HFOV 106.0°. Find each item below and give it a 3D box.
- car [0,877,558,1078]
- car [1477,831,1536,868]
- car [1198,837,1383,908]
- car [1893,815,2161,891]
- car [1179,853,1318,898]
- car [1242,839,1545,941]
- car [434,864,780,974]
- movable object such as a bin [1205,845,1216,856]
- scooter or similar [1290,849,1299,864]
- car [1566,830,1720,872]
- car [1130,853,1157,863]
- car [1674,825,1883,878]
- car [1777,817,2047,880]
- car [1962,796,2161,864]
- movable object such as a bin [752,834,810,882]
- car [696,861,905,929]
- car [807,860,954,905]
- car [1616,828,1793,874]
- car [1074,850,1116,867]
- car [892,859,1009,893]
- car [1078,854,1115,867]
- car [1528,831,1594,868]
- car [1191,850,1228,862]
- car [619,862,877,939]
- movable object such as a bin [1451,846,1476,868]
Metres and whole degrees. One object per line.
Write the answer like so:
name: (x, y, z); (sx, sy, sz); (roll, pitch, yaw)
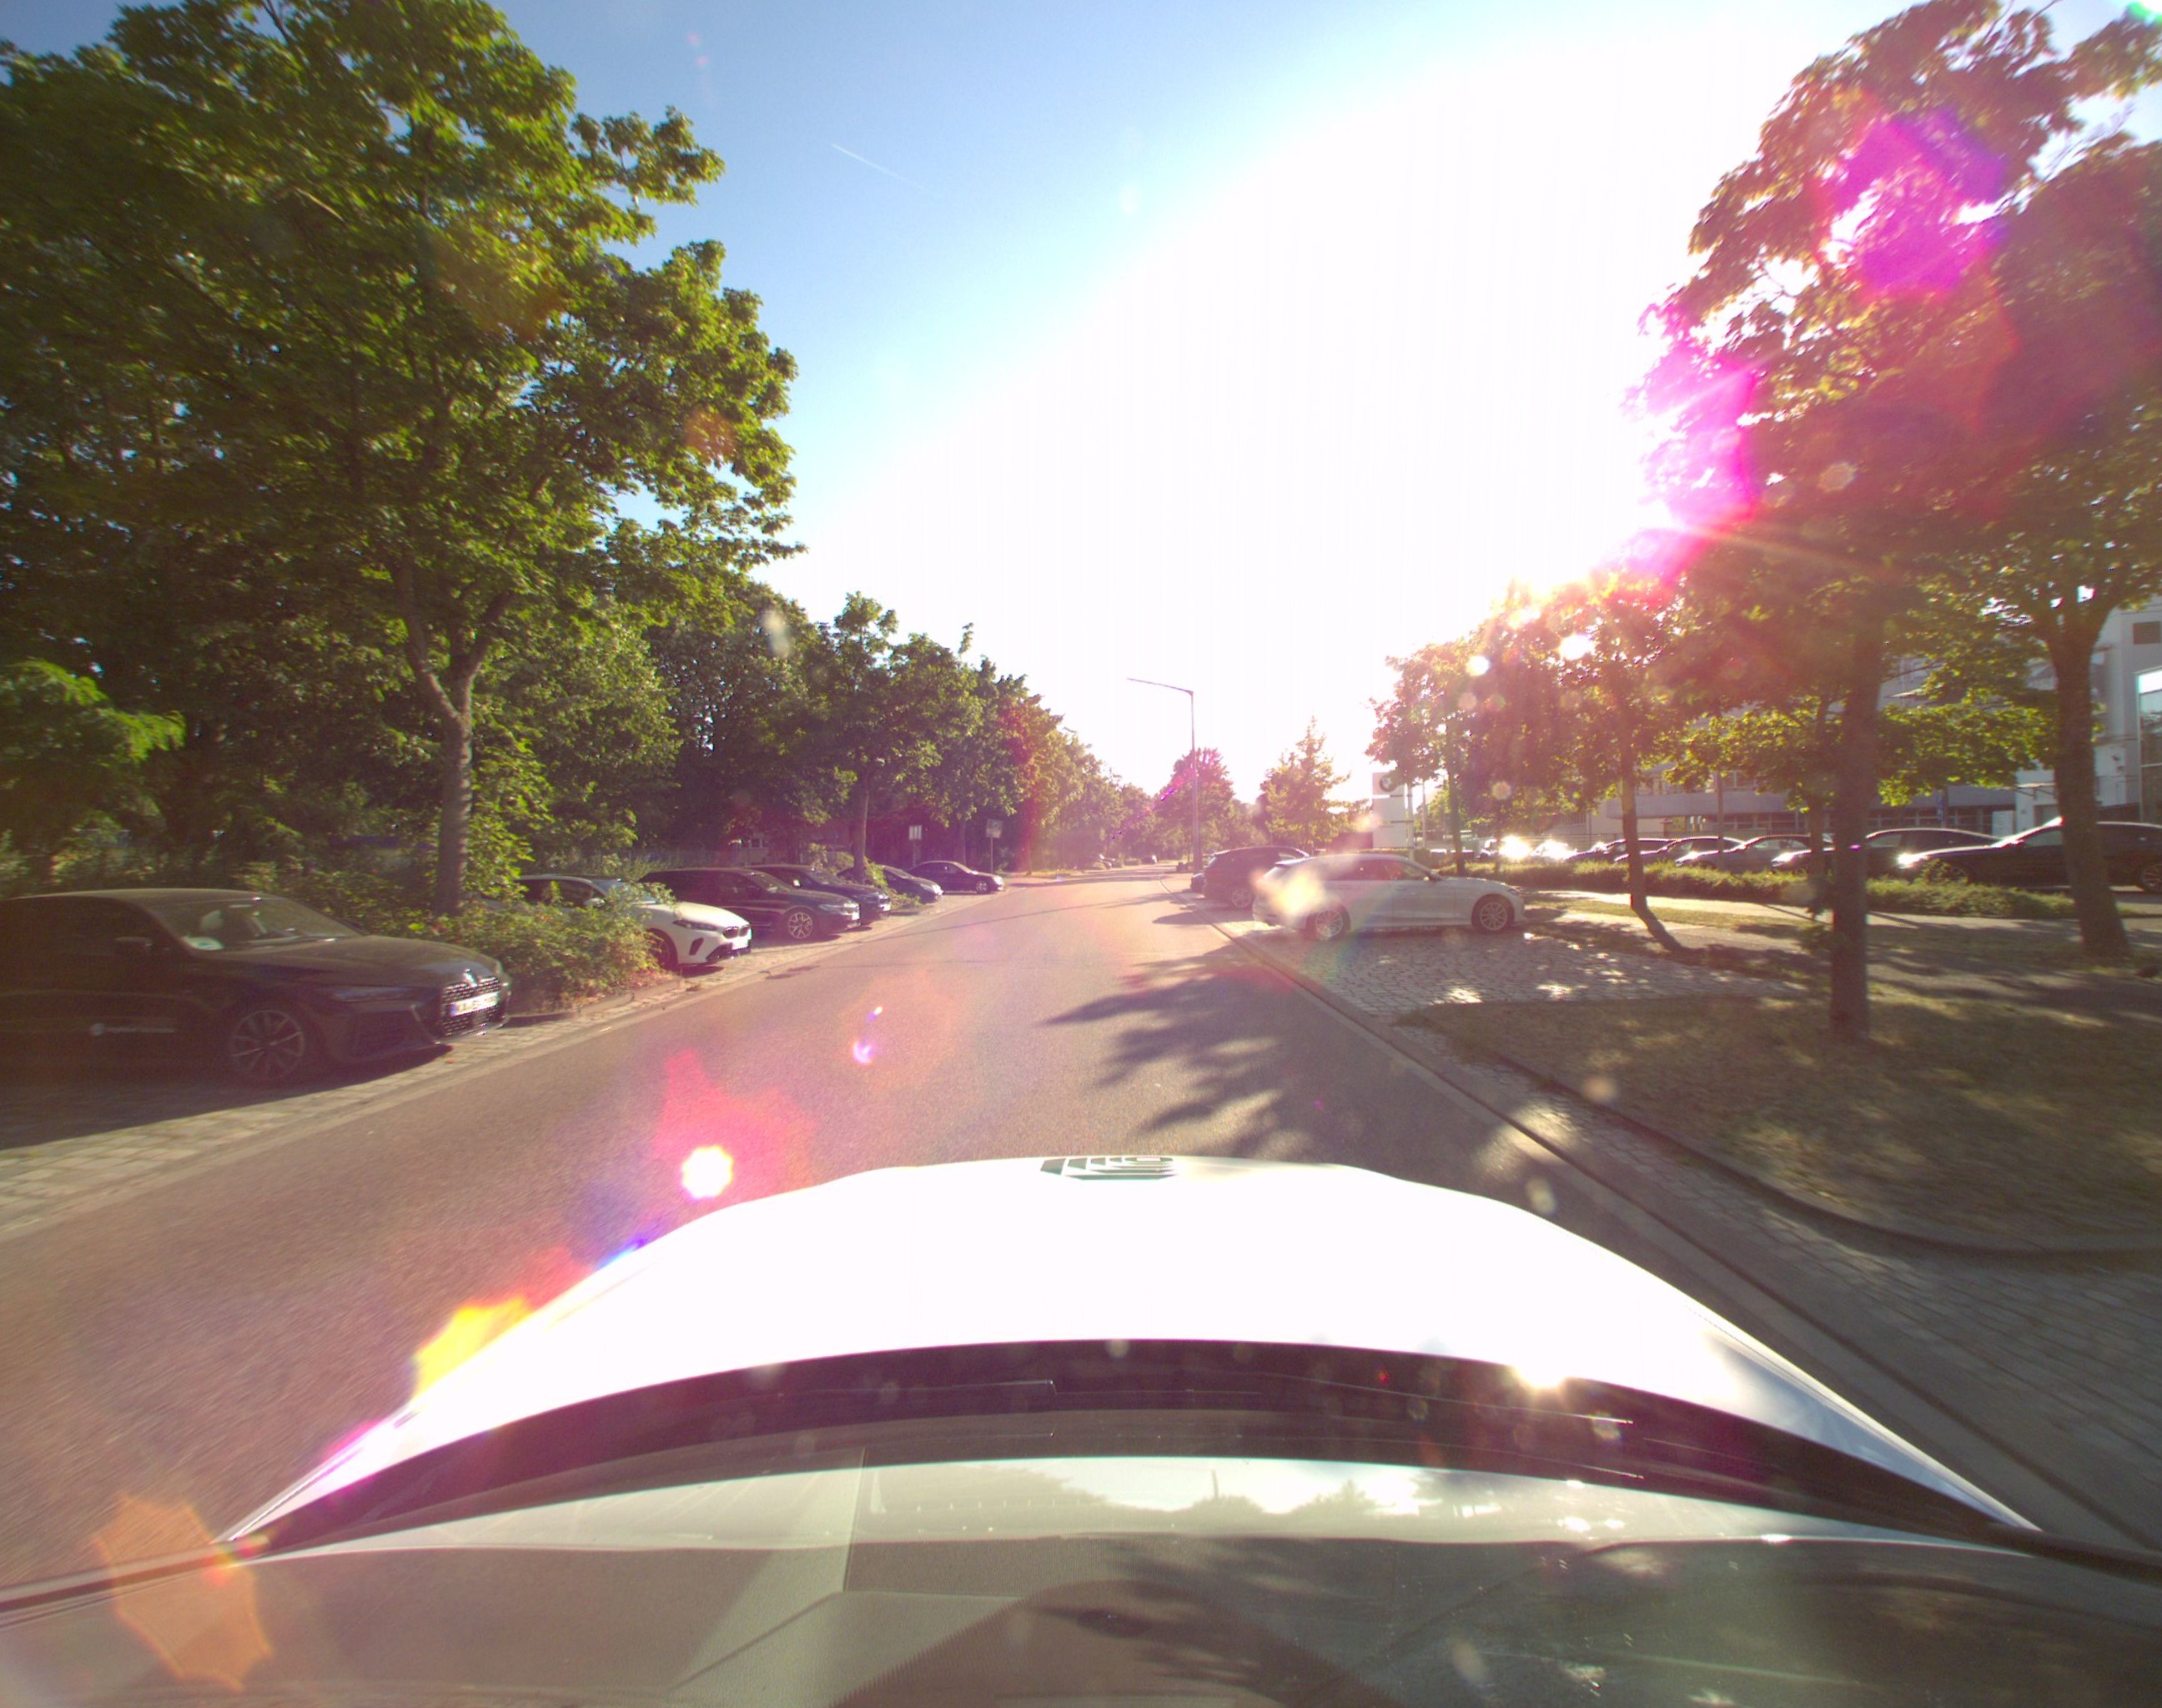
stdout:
car: (-7.484, 0.956, 7.042); (4.634, 1.421, 1.916); (0, 0, -1)
car: (22.914, -0.264, 44.046); (2.015, 1.828, 5.000); (-2, 0, 18)
car: (5.624, 0.496, 22.476); (4.670, 1.751, 2.196); (-1, 0, 6)
car: (20.793, -0.017, 17.416); (2.011, 1.463, 4.731); (-2, 0, -42)
car: (5.729, 0.722, 28.339); (4.464, 1.404, 2.035); (-1, 0, 2)
car: (5.469, 0.605, 14.757); (4.677, 1.479, 2.001); (-3, 0, 1)
car: (-7.278, 0.954, 12.833); (4.269, 1.531, 2.002); (0, 0, 3)
movable object such as a bin: (35.275, -0.986, 221.839); (2.819, 3.068, 4.943); (1, 0, 12)
scooter or similar: (17.733, 0.194, 67.742); (0.517, 1.272, 1.390); (-2, 0, 8)
car: (22.158, -0.101, 32.223); (4.729, 1.463, 2.012); (-2, 0, 43)
car: (10.699, 0.679, 138.789); (4.328, 1.479, 2.007); (1, 0, 13)
car: (21.447, -0.044, 25.213); (4.729, 1.463, 2.012); (-2, 0, 43)
car: (21.352, -0.094, 21.250); (4.729, 1.463, 2.012); (-2, 0, 43)
car: (31.911, -0.719, 26.553); (4.129, 2.013, 2.012); (-2, 0, 43)
movable object such as a bin: (-17.759, 0.224, 48.026); (2.173, 2.664, 4.754); (-1, 0, -33)
car: (-6.859, 0.977, 20.278); (4.462, 1.531, 2.001); (0, 0, 2)
car: (-6.798, 0.945, 27.963); (4.462, 1.462, 2.001); (0, 0, 2)
car: (21.825, -0.079, 28.630); (4.729, 1.463, 2.059); (-2, 0, 43)
car: (1.765, 0.554, 102.521); (4.975, 2.020, 2.180); (-1, 0, 9)
car: (-5.962, 0.984, 37.682); (5.015, 1.462, 2.001); (0, 0, 2)
car: (1.883, 0.796, 98.691); (4.187, 1.530, 1.710); (-1, 0, 9)
car: (25.404, -0.248, 43.276); (2.015, 1.828, 4.582); (-2, 0, 18)
car: (18.389, 0.322, 116.192); (5.142, 1.574, 2.164); (-1, 0, 10)
car: (-7.196, 0.964, 17.927); (4.827, 1.531, 2.002); (0, 0, 4)
movable object such as a bin: (22.790, 0.177, 48.521); (1.110, 1.268, 1.040); (-1, 0, 9)
